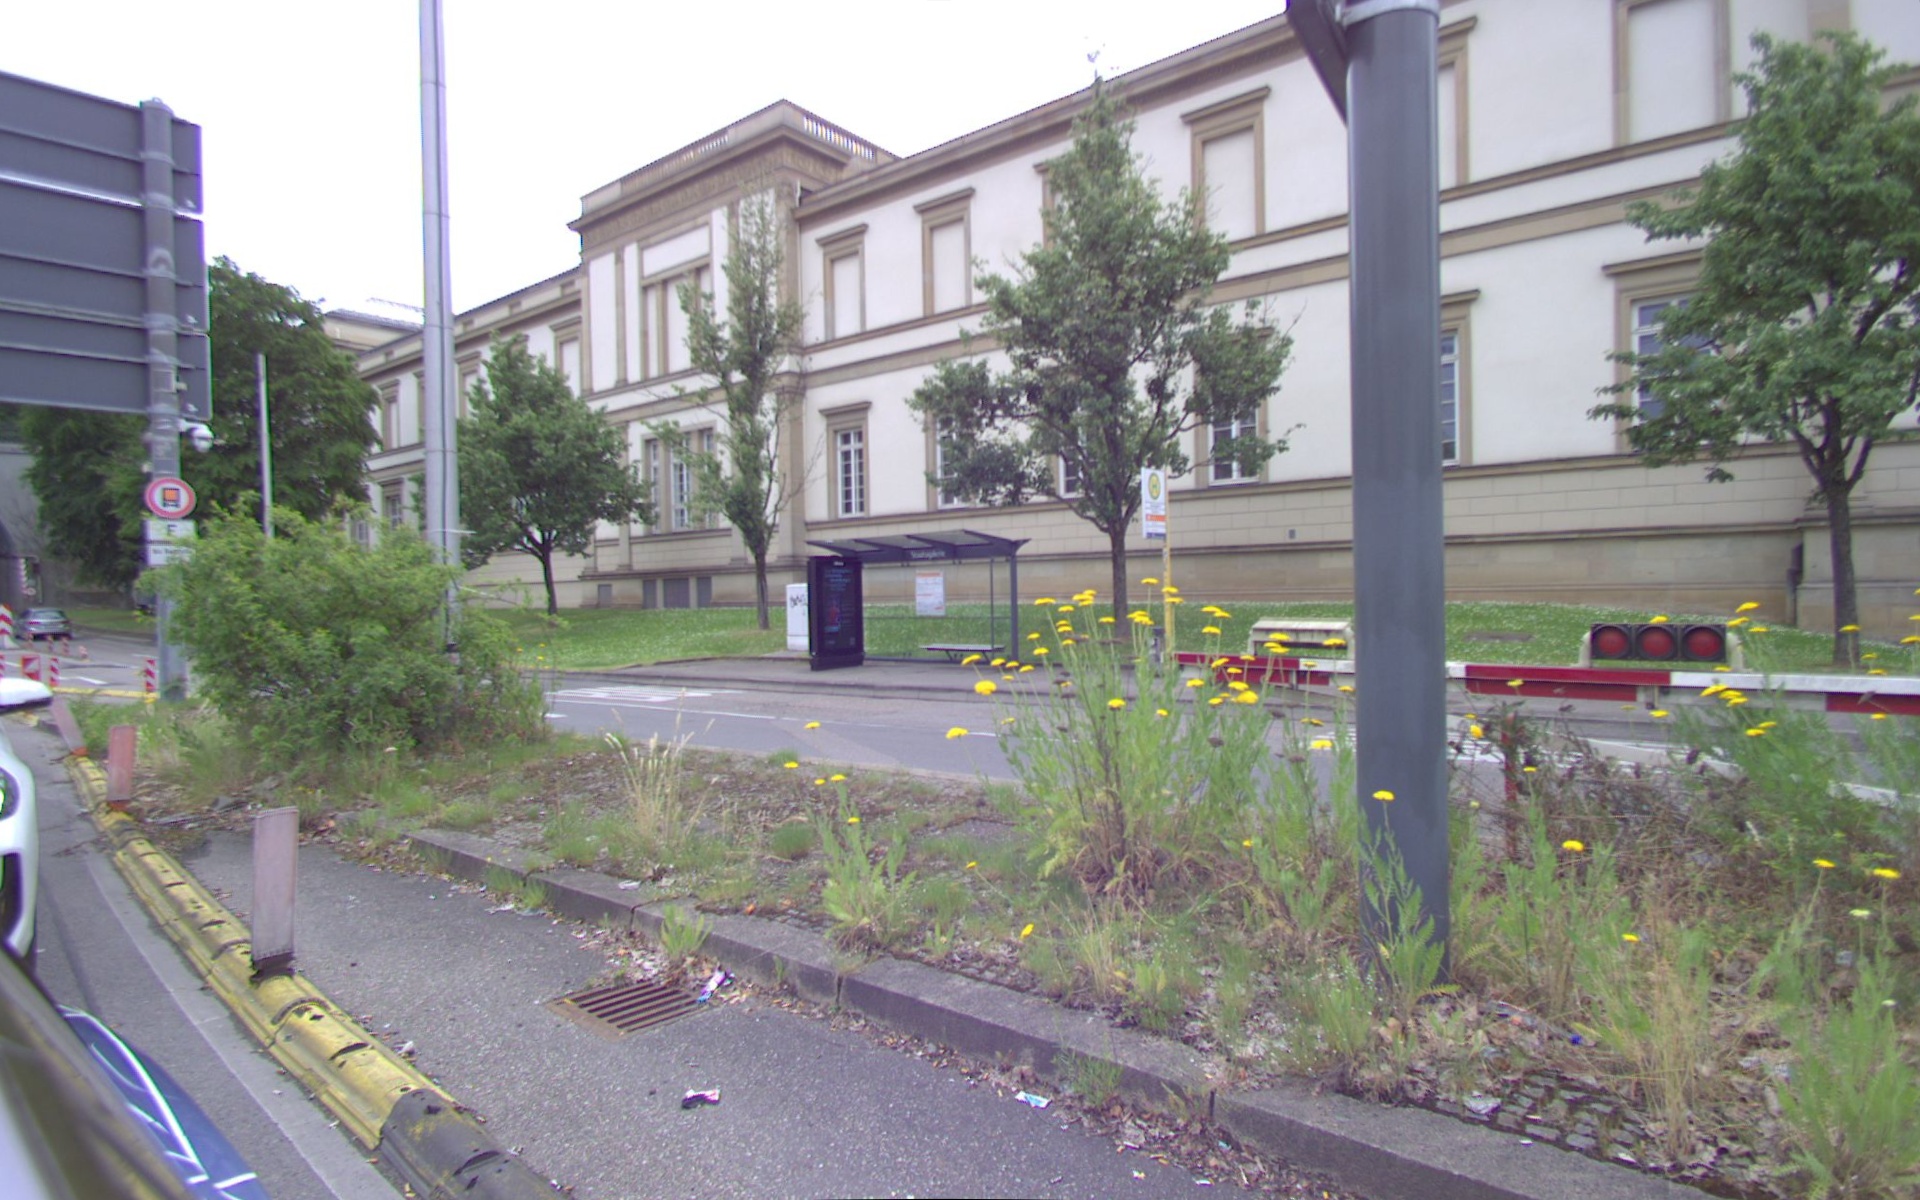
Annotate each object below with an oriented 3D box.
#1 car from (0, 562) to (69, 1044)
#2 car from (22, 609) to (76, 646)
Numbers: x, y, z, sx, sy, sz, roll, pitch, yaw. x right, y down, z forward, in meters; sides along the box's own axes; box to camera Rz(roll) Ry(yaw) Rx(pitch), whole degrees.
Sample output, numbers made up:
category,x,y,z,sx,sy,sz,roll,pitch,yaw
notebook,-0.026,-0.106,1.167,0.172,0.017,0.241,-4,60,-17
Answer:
category,x,y,z,sx,sy,sz,roll,pitch,yaw
car,-5.170,0.714,4.043,3.668,1.637,1.962,-1,0,41
car,-45.322,1.322,50.317,1.811,1.759,4.003,-1,0,-44
